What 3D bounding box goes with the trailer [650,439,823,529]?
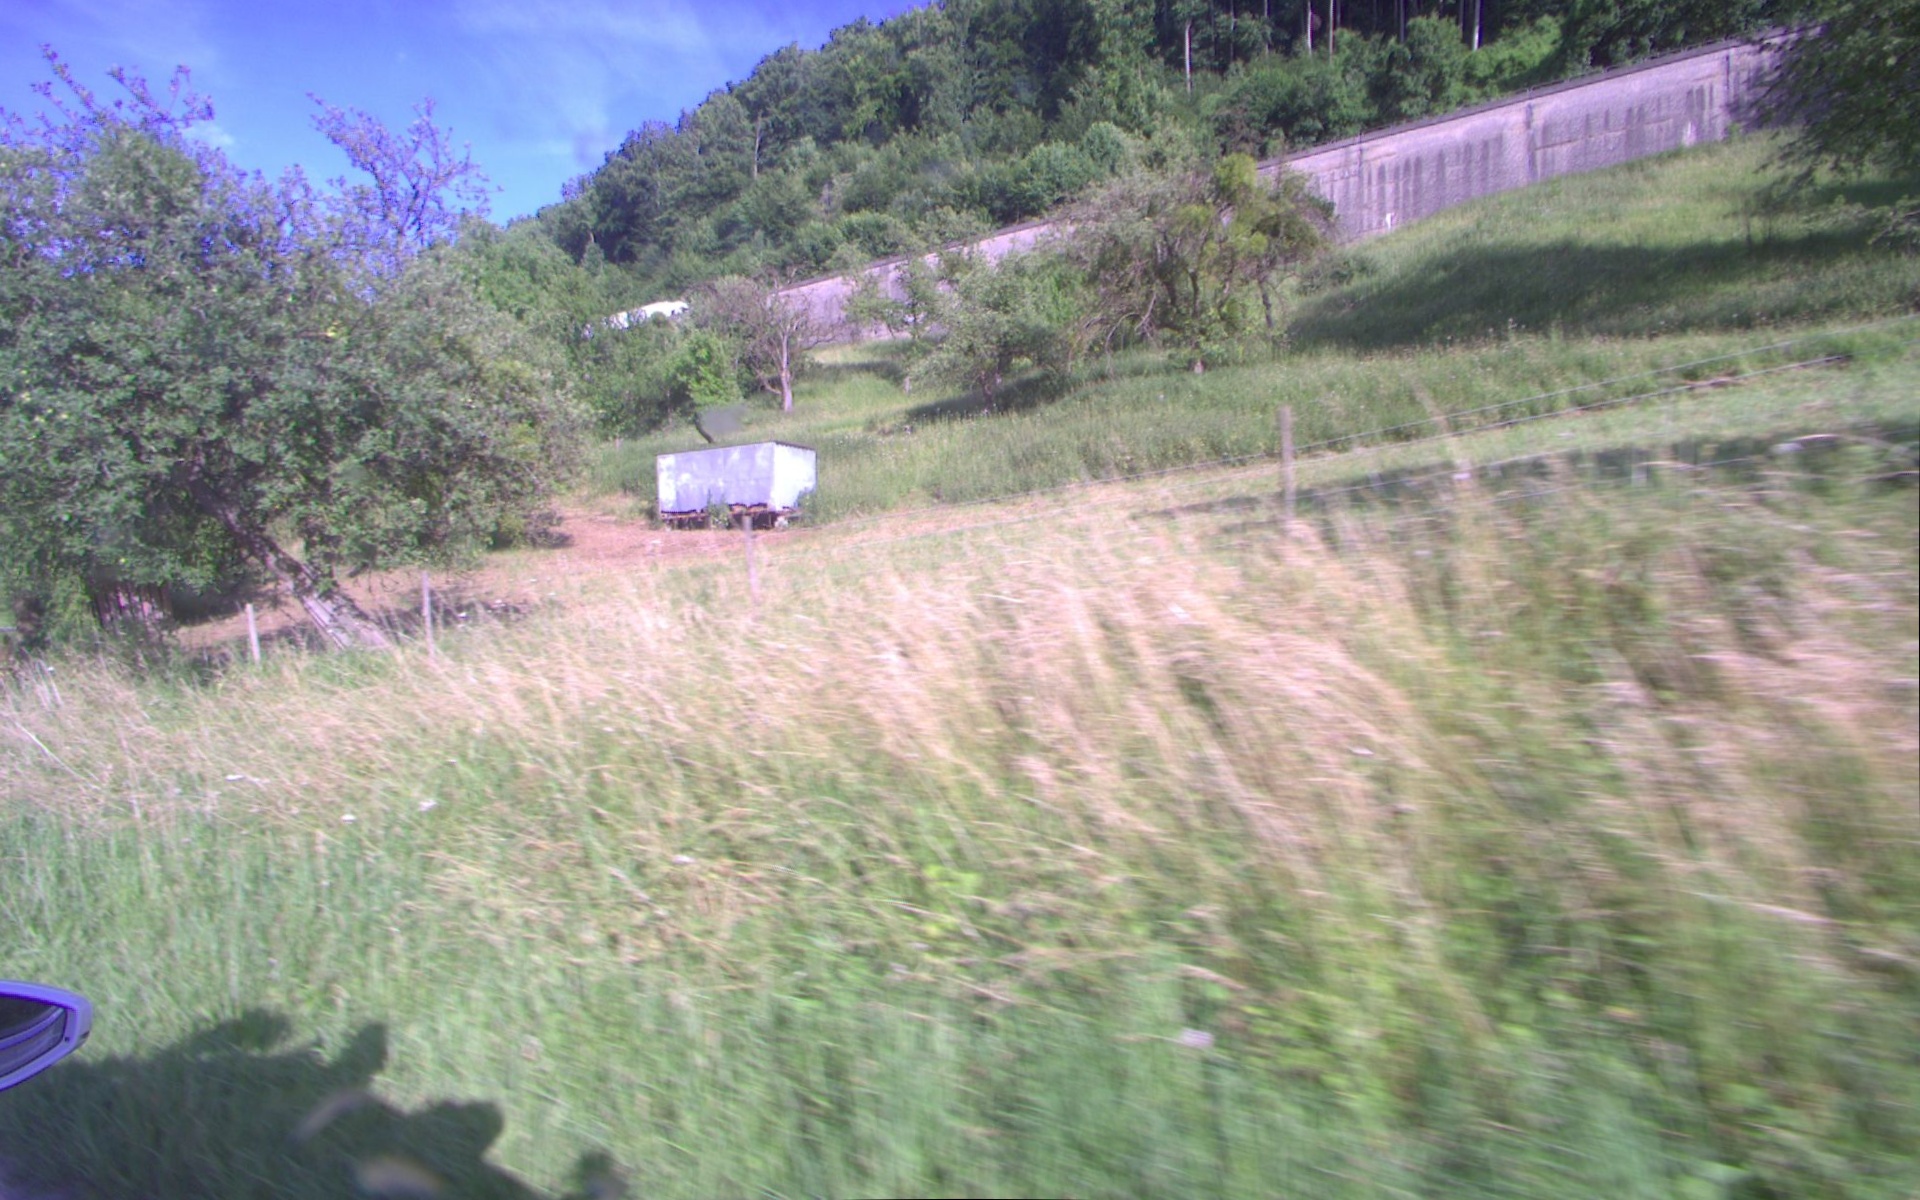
[{"bbox_3d":[-7.067,-3.568,31.538,5.163,2.595,2.149,3,4,28],"label":"trailer"}]
